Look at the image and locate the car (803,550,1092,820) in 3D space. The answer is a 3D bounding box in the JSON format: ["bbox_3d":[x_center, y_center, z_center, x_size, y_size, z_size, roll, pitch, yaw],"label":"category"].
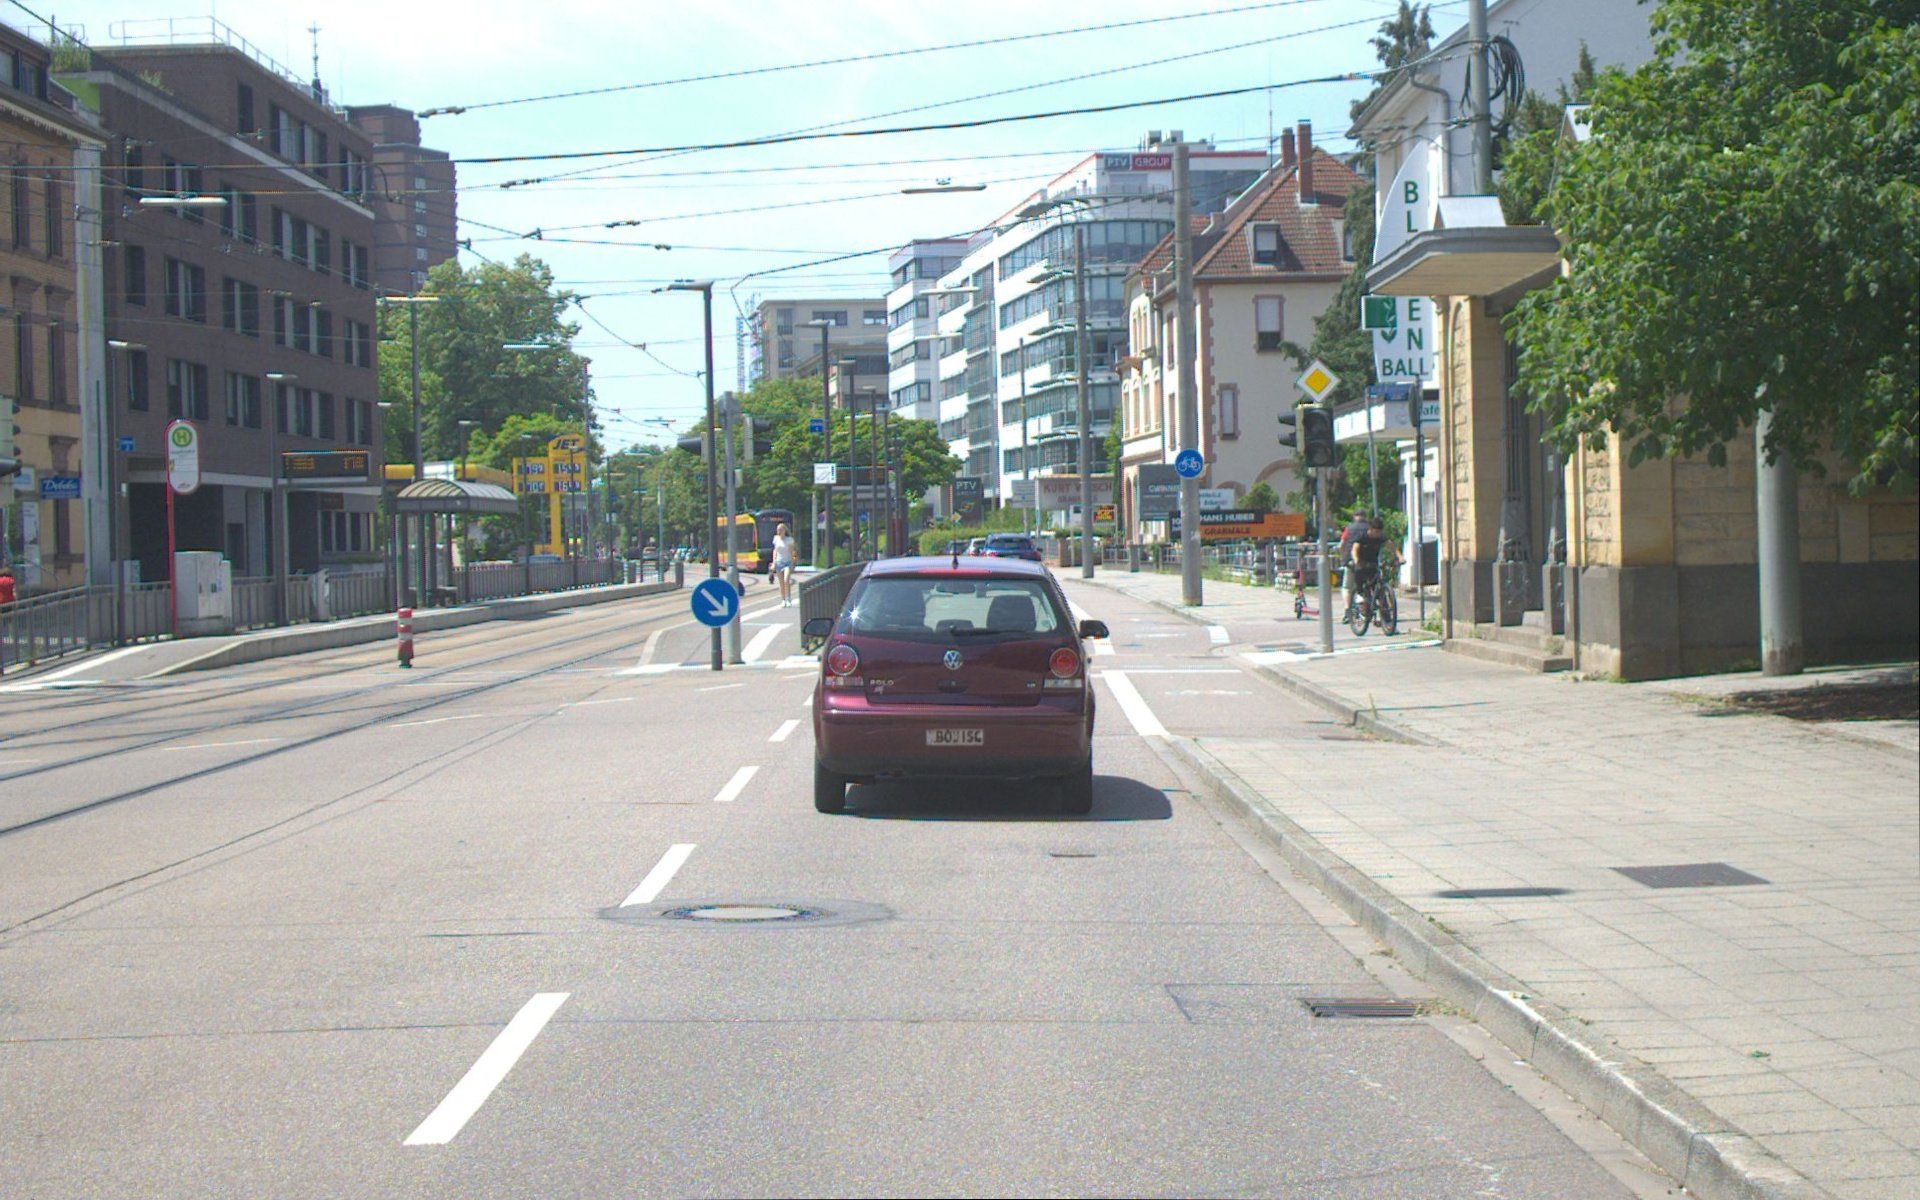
[{"bbox_3d":[-0.071,0.449,20.568,1.561,1.448,3.062,-2,1,0],"label":"car"}]

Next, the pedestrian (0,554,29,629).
[{"bbox_3d":[-20.062,-0.179,72.562,0.614,1.555,0.640,-2,1,0],"label":"pedestrian"}]

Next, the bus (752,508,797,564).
[{"bbox_3d":[-10.177,-3.498,188.684,2.144,2.993,6.575,-2,1,-5],"label":"bus"}]

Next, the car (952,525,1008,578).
[{"bbox_3d":[0.736,-1.796,126.785,1.993,1.842,4.000,-2,1,1],"label":"car"}]

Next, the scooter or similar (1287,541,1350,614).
[{"bbox_3d":[5.864,-0.363,56.287,0.339,1.174,1.468,-2,1,-23],"label":"scooter or similar"}]

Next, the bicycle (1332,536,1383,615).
[{"bbox_3d":[6.278,-0.393,54.215,0.376,1.193,1.903,-1,1,19],"label":"bicycle"}]

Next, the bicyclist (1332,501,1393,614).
[{"bbox_3d":[6.377,-0.684,54.459,0.728,1.754,0.923,-1,1,20],"label":"bicyclist"}]

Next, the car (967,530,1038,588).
[{"bbox_3d":[1.261,-1.215,100.873,1.993,1.619,4.632,-2,1,1],"label":"car"}]

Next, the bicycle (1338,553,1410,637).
[{"bbox_3d":[5.660,-0.078,47.087,0.668,0.999,1.864,-5,3,-1],"label":"bicycle"}]

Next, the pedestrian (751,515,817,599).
[{"bbox_3d":[-3.549,-0.874,69.377,0.764,1.669,1.098,-1,1,36],"label":"pedestrian"}]

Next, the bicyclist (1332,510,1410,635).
[{"bbox_3d":[5.626,-0.387,47.095,0.832,1.612,0.860,-5,3,-1],"label":"bicyclist"}]
